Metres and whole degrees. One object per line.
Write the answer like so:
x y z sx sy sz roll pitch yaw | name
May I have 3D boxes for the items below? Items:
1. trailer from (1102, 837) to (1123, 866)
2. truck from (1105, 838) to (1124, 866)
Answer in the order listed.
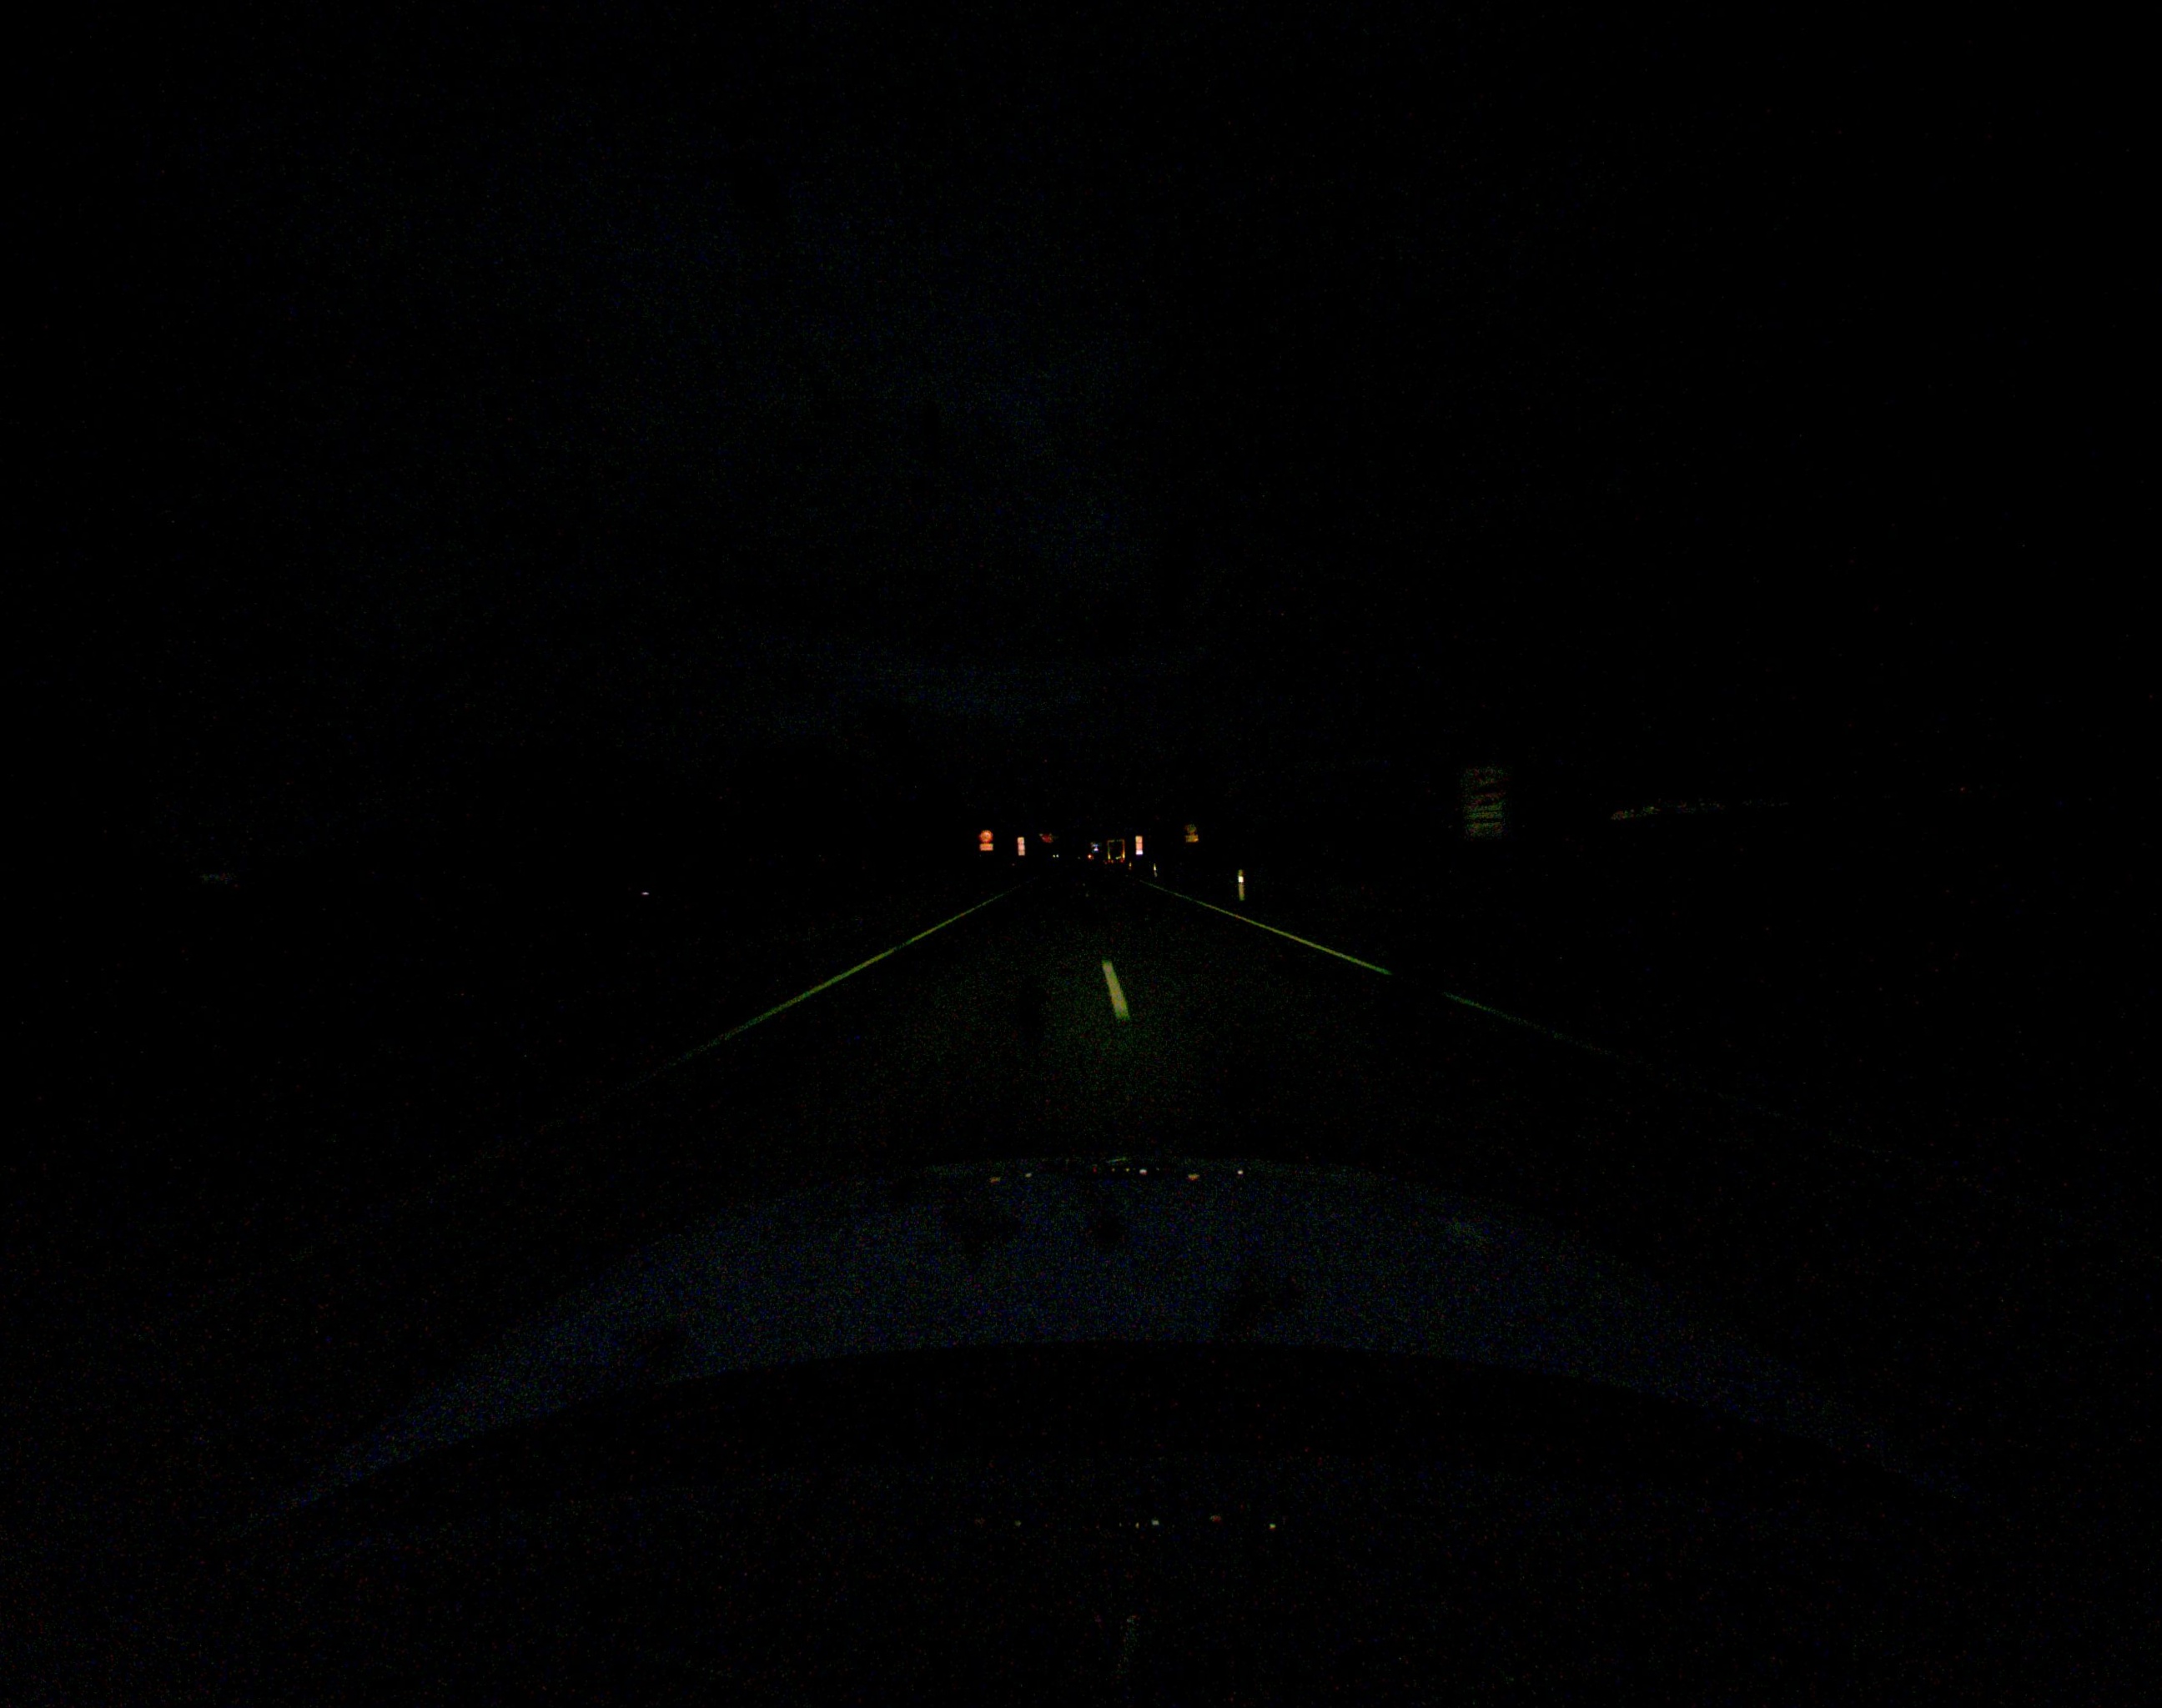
4.870 -0.343 127.653 2.614 4.104 12.933 -3 0 0 | trailer
4.879 -0.331 120.818 2.571 4.071 6.130 -1 0 0 | truck
